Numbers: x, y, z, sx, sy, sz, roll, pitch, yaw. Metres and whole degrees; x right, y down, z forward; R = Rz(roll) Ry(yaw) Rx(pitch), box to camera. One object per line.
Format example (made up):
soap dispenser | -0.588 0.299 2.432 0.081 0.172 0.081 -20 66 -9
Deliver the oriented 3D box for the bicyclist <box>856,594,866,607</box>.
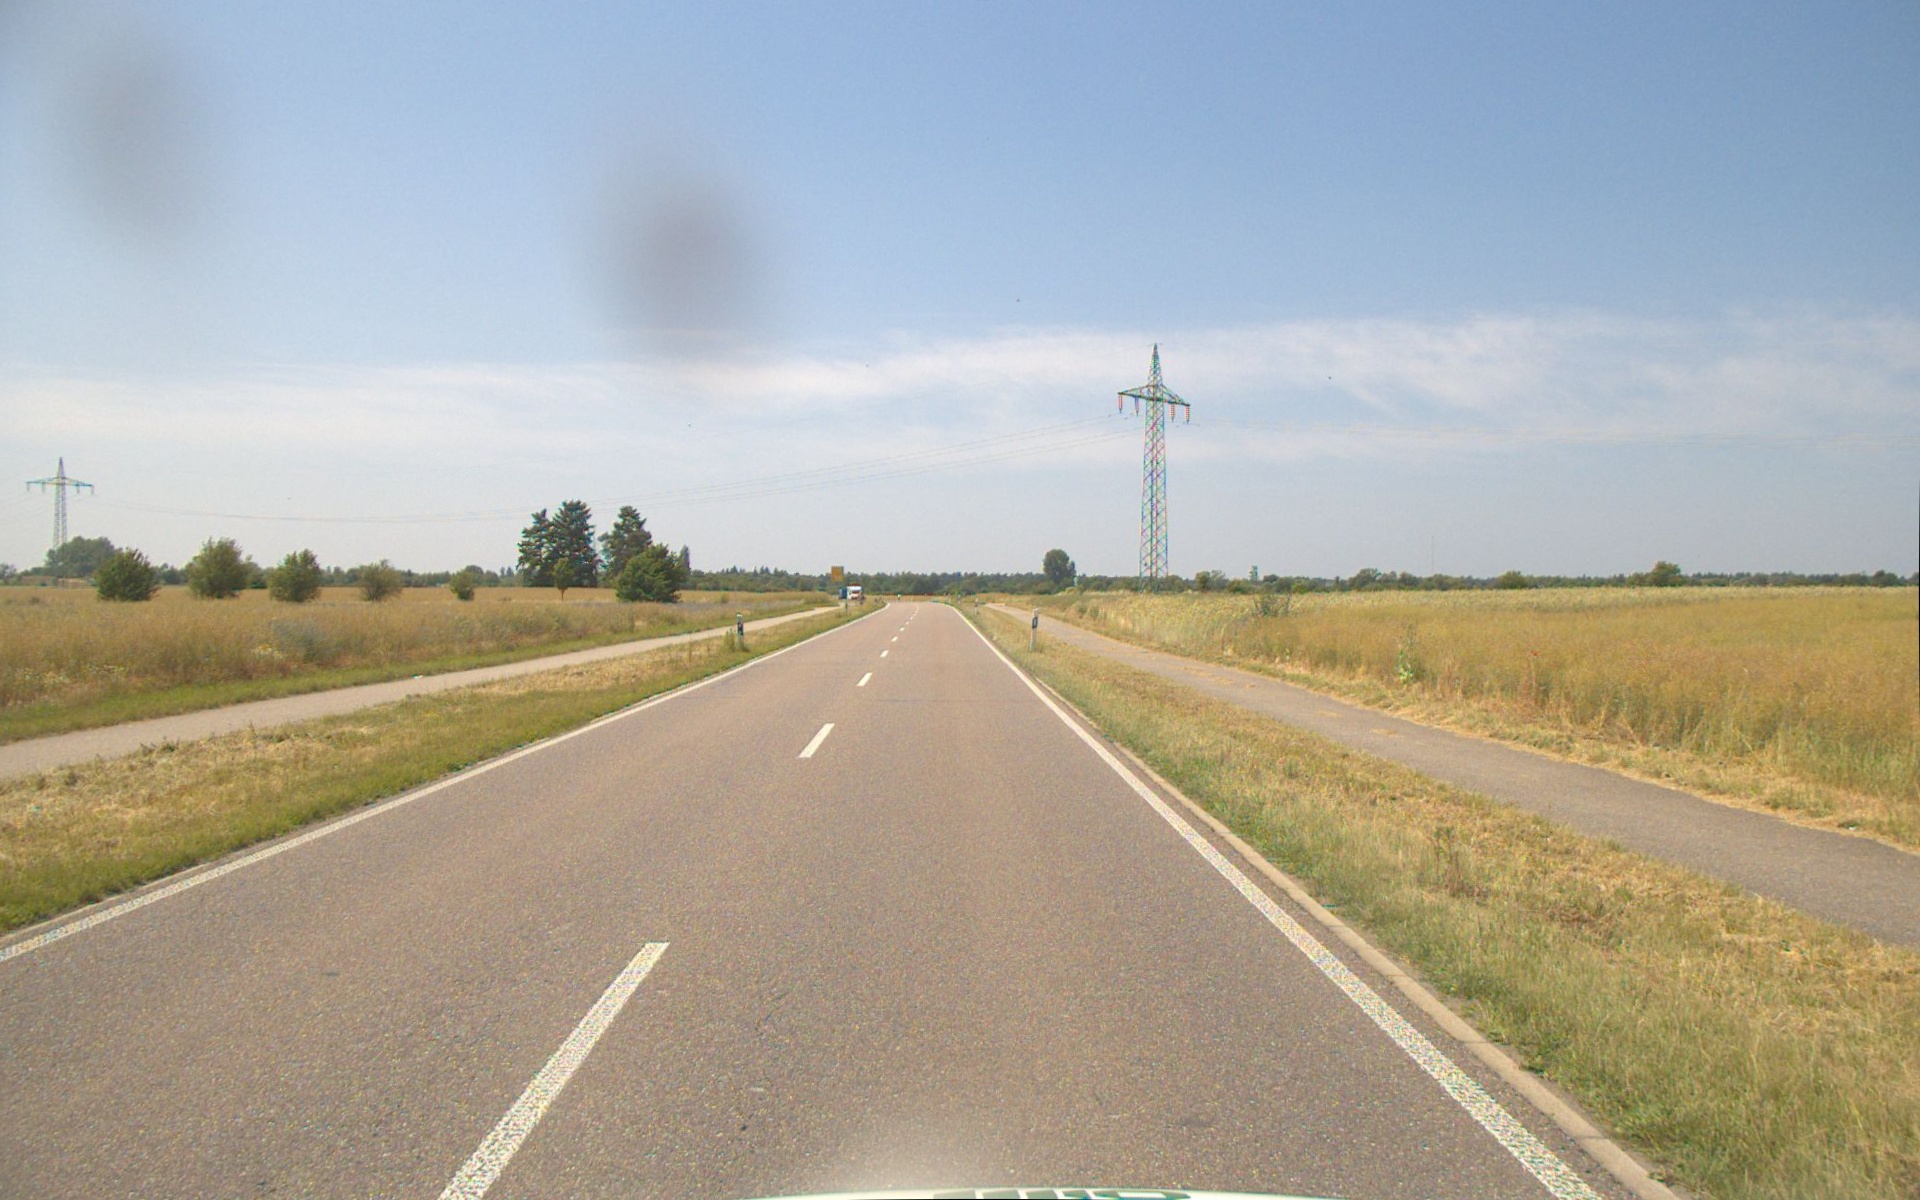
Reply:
bicyclist | -10.366 0.069 173.382 0.687 1.354 0.965 -1 0 23

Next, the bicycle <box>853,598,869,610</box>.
bicycle | -10.342 0.409 173.412 0.747 1.250 2.215 -1 0 22
